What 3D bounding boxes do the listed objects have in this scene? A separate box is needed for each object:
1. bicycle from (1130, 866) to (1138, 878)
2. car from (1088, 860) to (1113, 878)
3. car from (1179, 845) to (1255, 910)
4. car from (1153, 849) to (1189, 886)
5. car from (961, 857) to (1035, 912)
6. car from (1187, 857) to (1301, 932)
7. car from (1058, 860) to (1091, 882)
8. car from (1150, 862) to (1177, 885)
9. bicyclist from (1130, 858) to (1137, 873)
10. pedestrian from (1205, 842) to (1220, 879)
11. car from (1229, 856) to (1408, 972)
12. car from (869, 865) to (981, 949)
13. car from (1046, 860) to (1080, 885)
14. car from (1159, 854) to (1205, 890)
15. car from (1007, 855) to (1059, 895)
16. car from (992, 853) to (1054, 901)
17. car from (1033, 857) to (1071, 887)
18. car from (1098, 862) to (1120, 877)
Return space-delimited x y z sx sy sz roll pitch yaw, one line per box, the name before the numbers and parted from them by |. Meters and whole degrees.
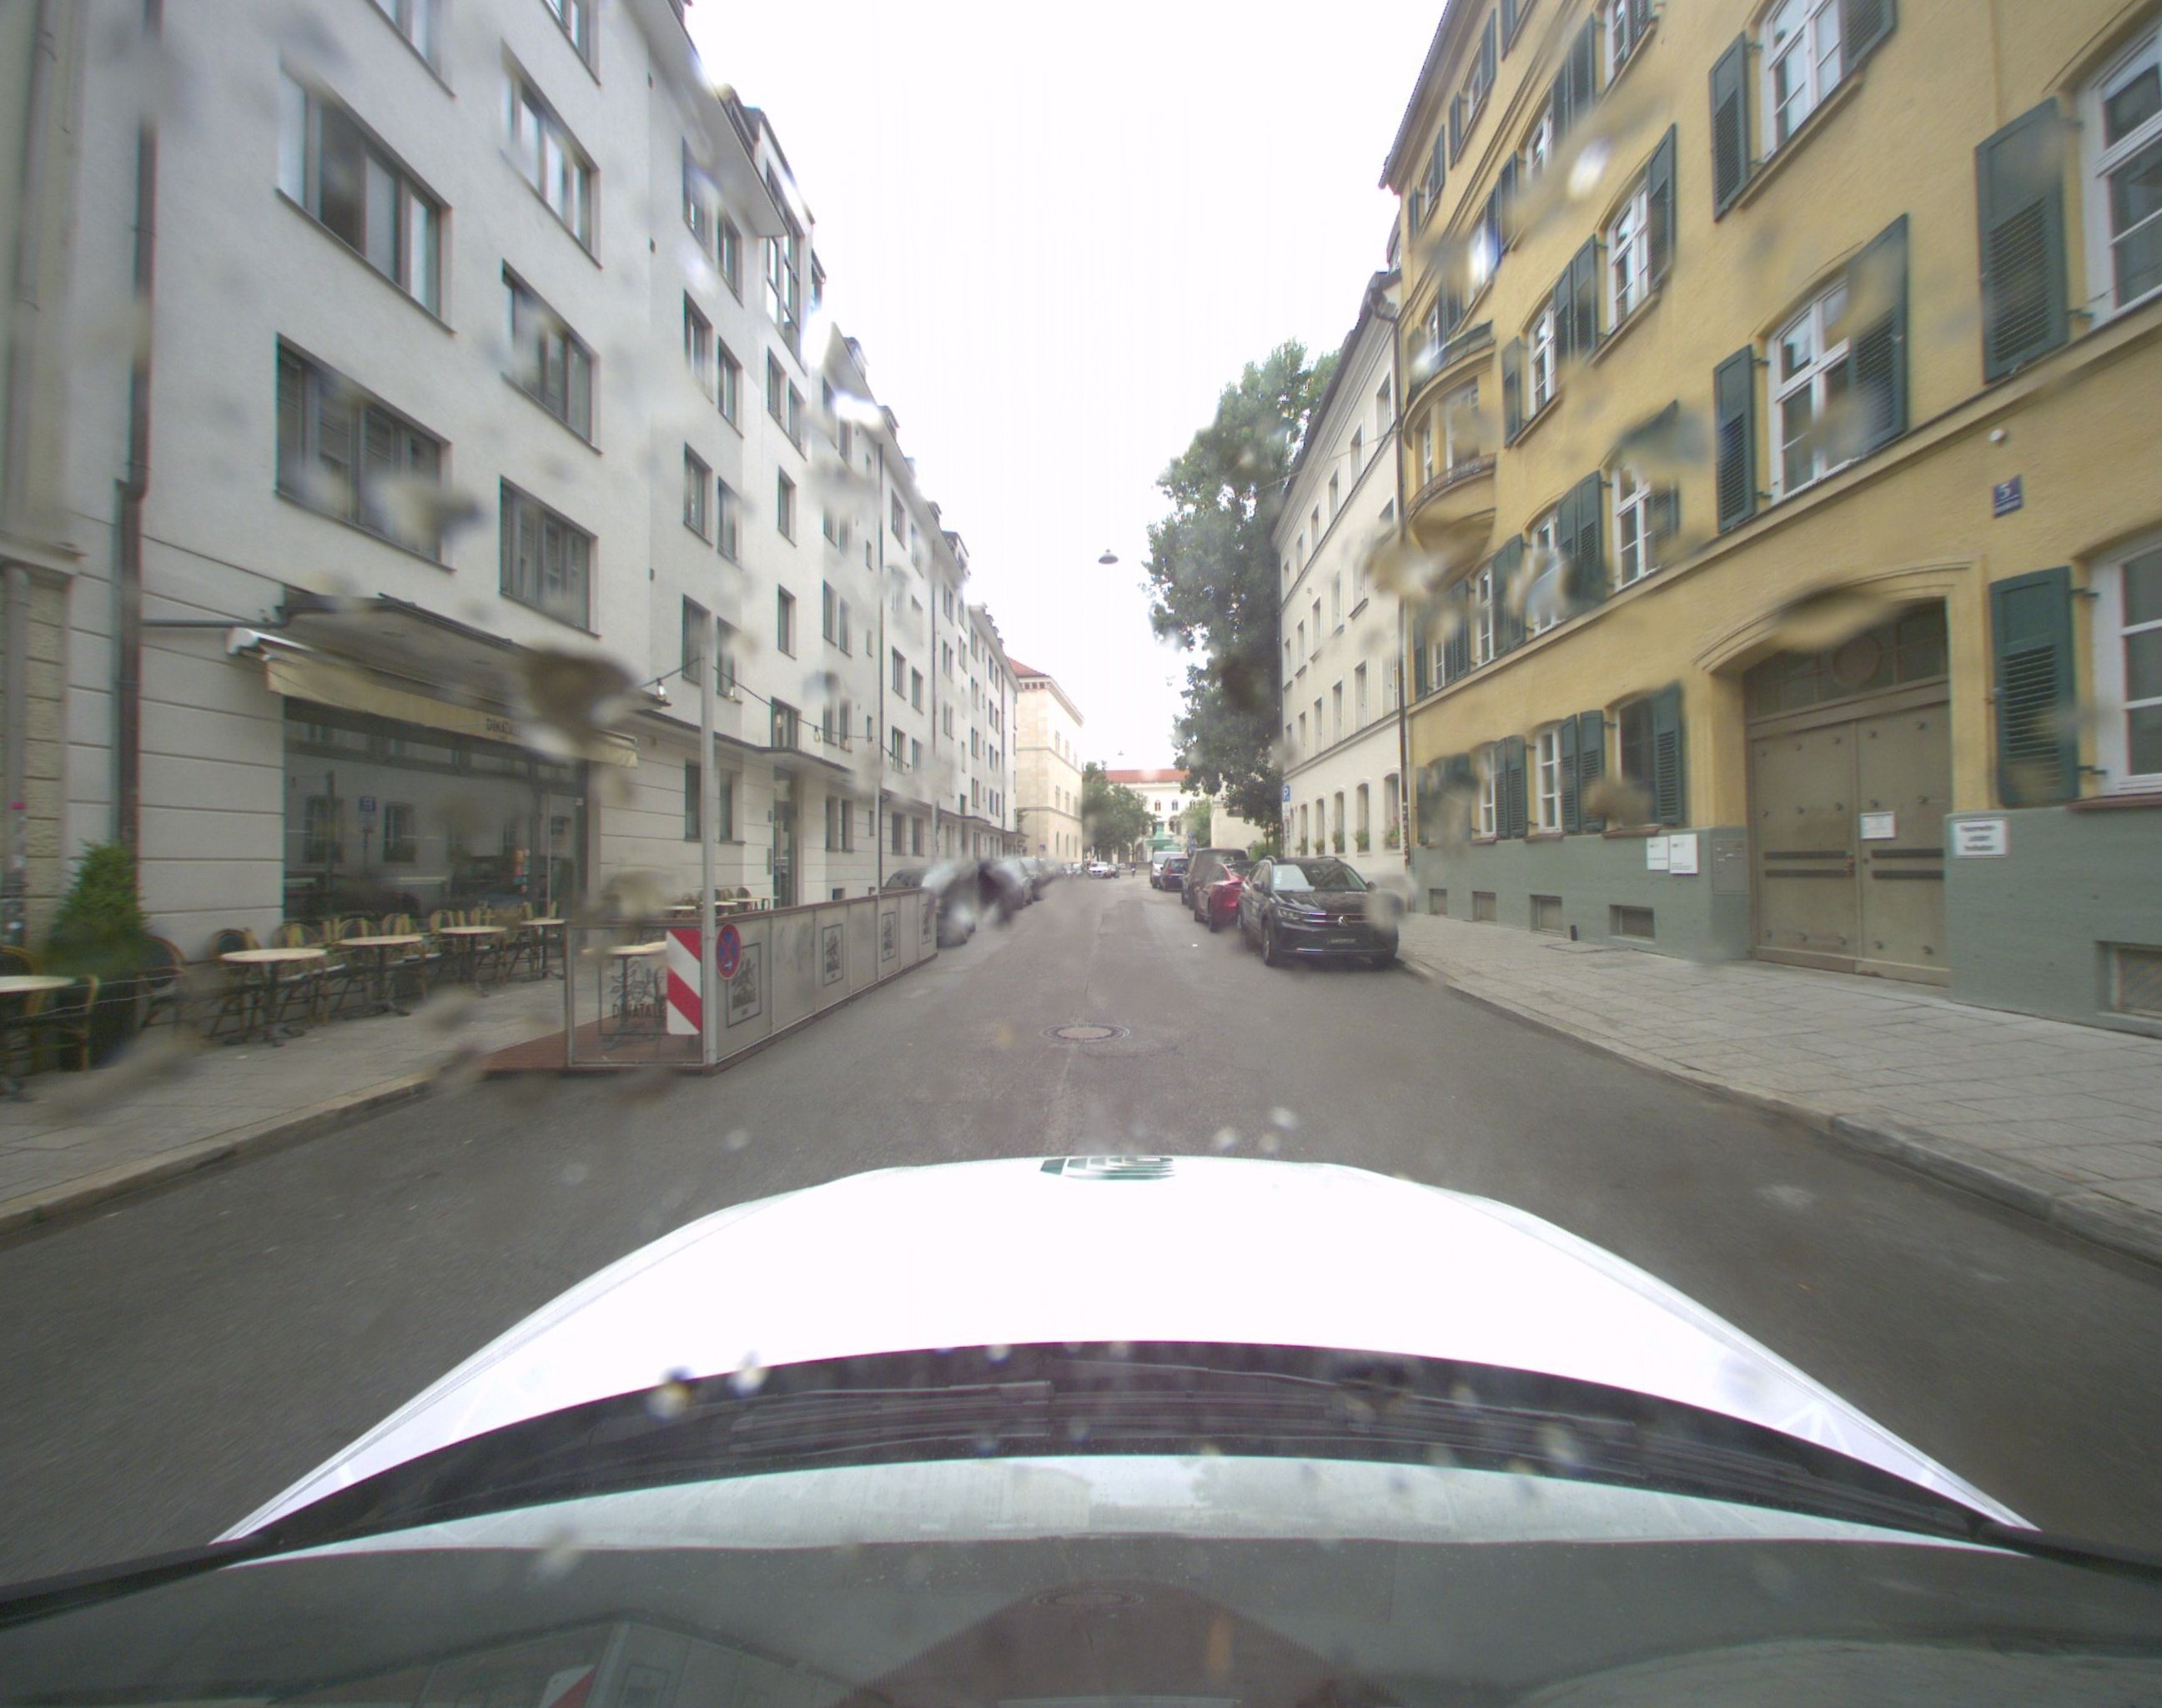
bicycle | 5.333 1.803 81.836 0.645 1.197 1.953 -1 -1 5
car | 1.794 1.389 74.293 1.769 1.535 4.219 -2 -2 7
car | 4.056 0.677 24.844 1.839 1.776 4.204 1 -1 3
car | 4.897 0.735 44.787 1.873 1.924 4.881 -1 -1 5
car | -2.575 0.920 26.226 1.766 1.539 4.161 -2 0 2
car | 3.417 0.804 17.874 1.707 1.424 4.459 -1 -1 1
car | -0.411 1.213 59.106 1.740 1.453 4.025 -2 0 8
car | 5.319 1.232 52.166 1.665 1.417 4.208 0 -1 6
bicyclist | 5.311 1.146 82.016 0.654 1.551 0.889 -1 -1 5
pedestrian | 7.906 0.399 48.880 0.790 2.197 0.814 0 -1 2
car | 3.415 0.778 12.478 1.739 1.464 4.003 -1 0 3
car | -2.955 0.943 16.199 1.635 1.354 4.053 -2 0 -4
car | -1.176 1.209 54.378 1.742 1.453 4.022 -2 0 6
car | 4.761 0.828 38.858 1.801 1.600 4.216 0 -1 1
car | -2.129 0.911 37.434 1.865 1.658 4.593 -2 0 2
car | -2.192 0.842 31.934 1.865 1.688 4.522 -2 0 2
car | -1.703 1.061 48.962 1.865 1.658 4.082 -2 0 3
car | 2.797 1.555 80.621 1.689 1.393 4.221 -2 -2 8
